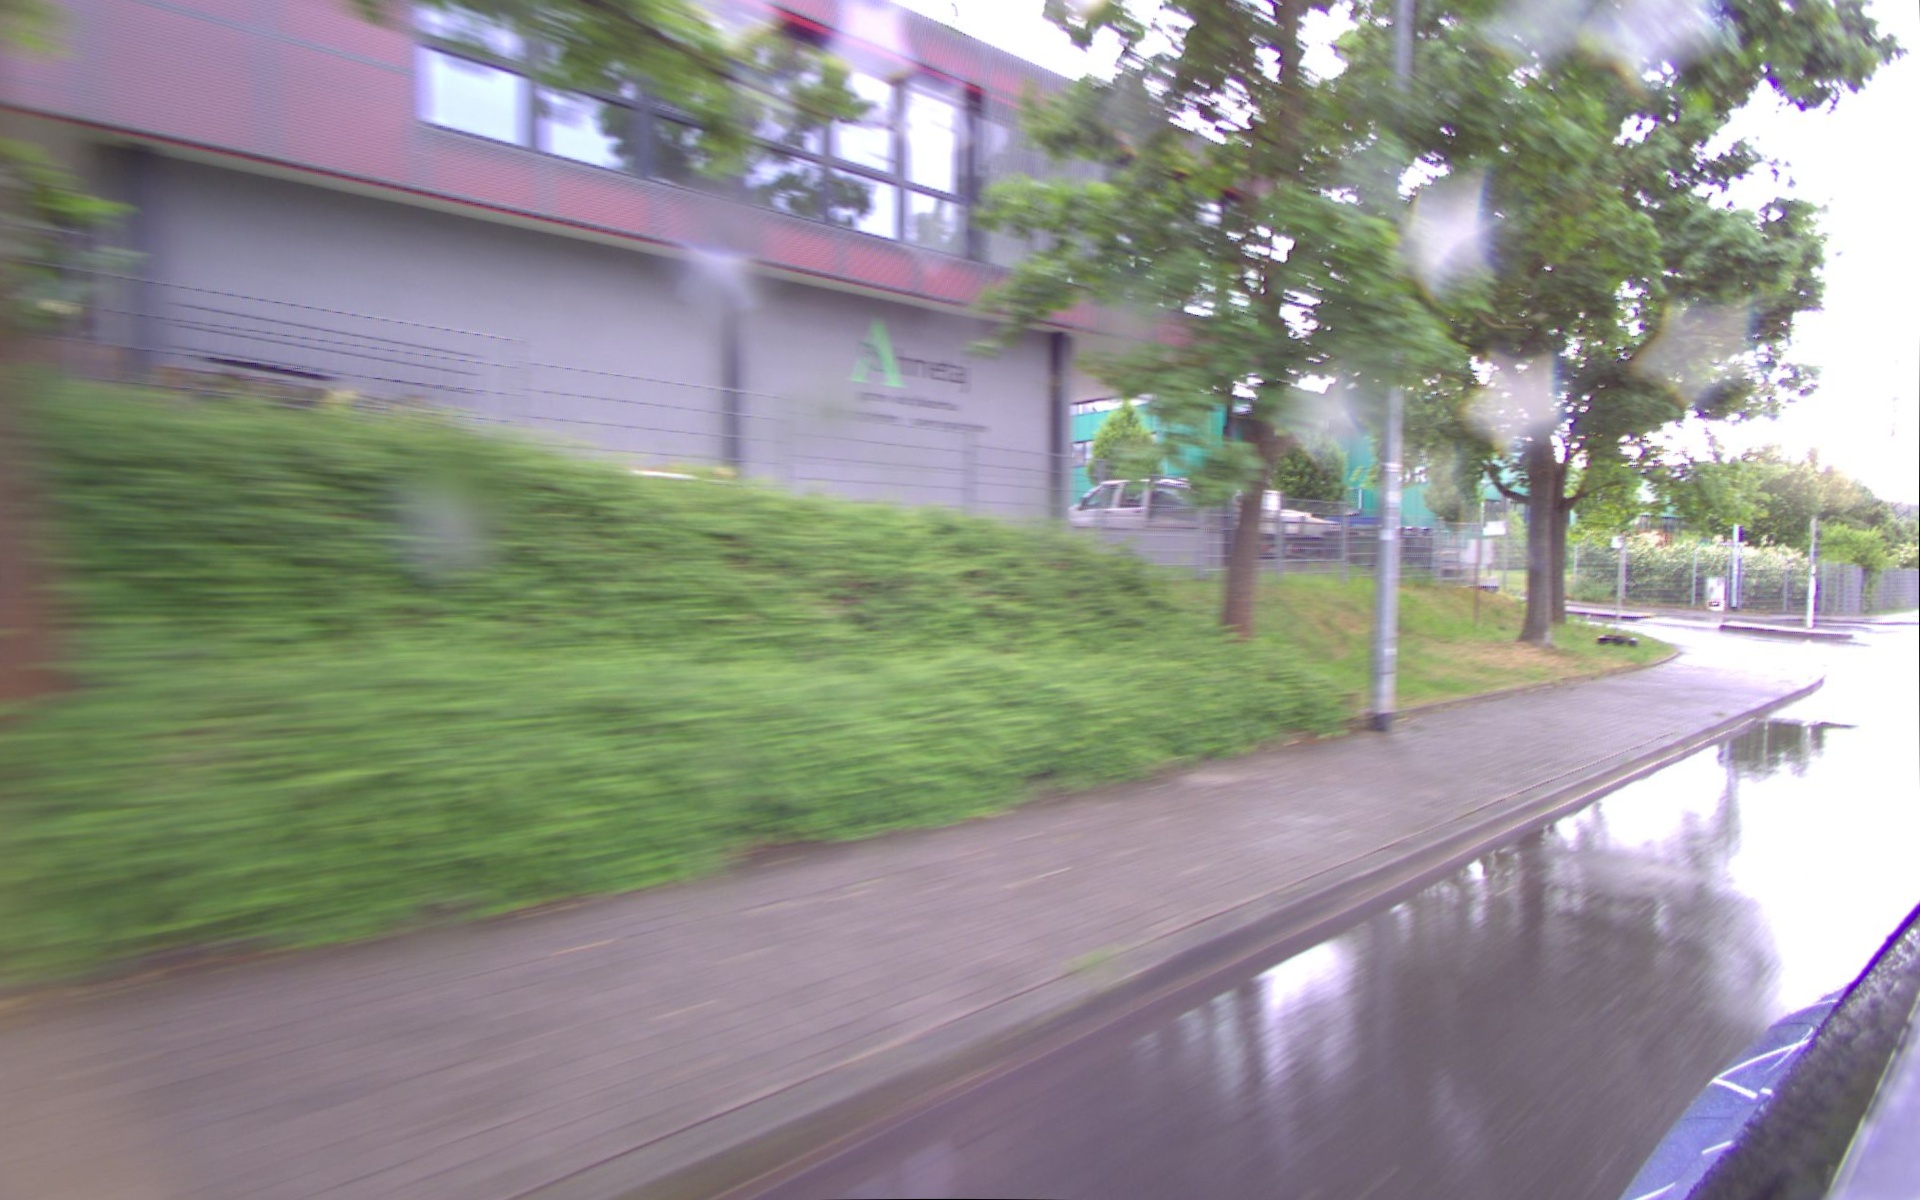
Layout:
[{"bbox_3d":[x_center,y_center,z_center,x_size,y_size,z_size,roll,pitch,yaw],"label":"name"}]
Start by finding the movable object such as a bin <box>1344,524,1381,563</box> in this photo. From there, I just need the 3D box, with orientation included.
[{"bbox_3d":[9.166,-1.287,23.070,0.556,0.827,0.539,0,5,-41],"label":"movable object such as a bin"}]

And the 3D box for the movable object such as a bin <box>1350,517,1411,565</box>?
[{"bbox_3d":[9.895,-1.396,23.831,1.034,1.055,0.884,0,5,-39],"label":"movable object such as a bin"}]

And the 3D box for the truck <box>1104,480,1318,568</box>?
[{"bbox_3d":[7.086,-2.253,29.152,2.078,2.240,5.642,-1,6,-44],"label":"truck"}]

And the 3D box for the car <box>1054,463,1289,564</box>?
[{"bbox_3d":[4.707,-2.015,23.177,2.028,2.037,4.932,-1,6,-42],"label":"car"}]

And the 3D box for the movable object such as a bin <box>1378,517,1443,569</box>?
[{"bbox_3d":[10.975,-1.391,24.658,1.122,1.176,1.026,0,5,-41],"label":"movable object such as a bin"}]

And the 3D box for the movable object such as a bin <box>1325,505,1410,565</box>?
[{"bbox_3d":[11.254,-1.797,27.964,1.848,1.518,1.295,6,5,35],"label":"movable object such as a bin"}]

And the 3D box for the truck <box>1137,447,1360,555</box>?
[{"bbox_3d":[7.063,-2.401,25.189,2.212,2.370,4.828,-1,4,-43],"label":"truck"}]
